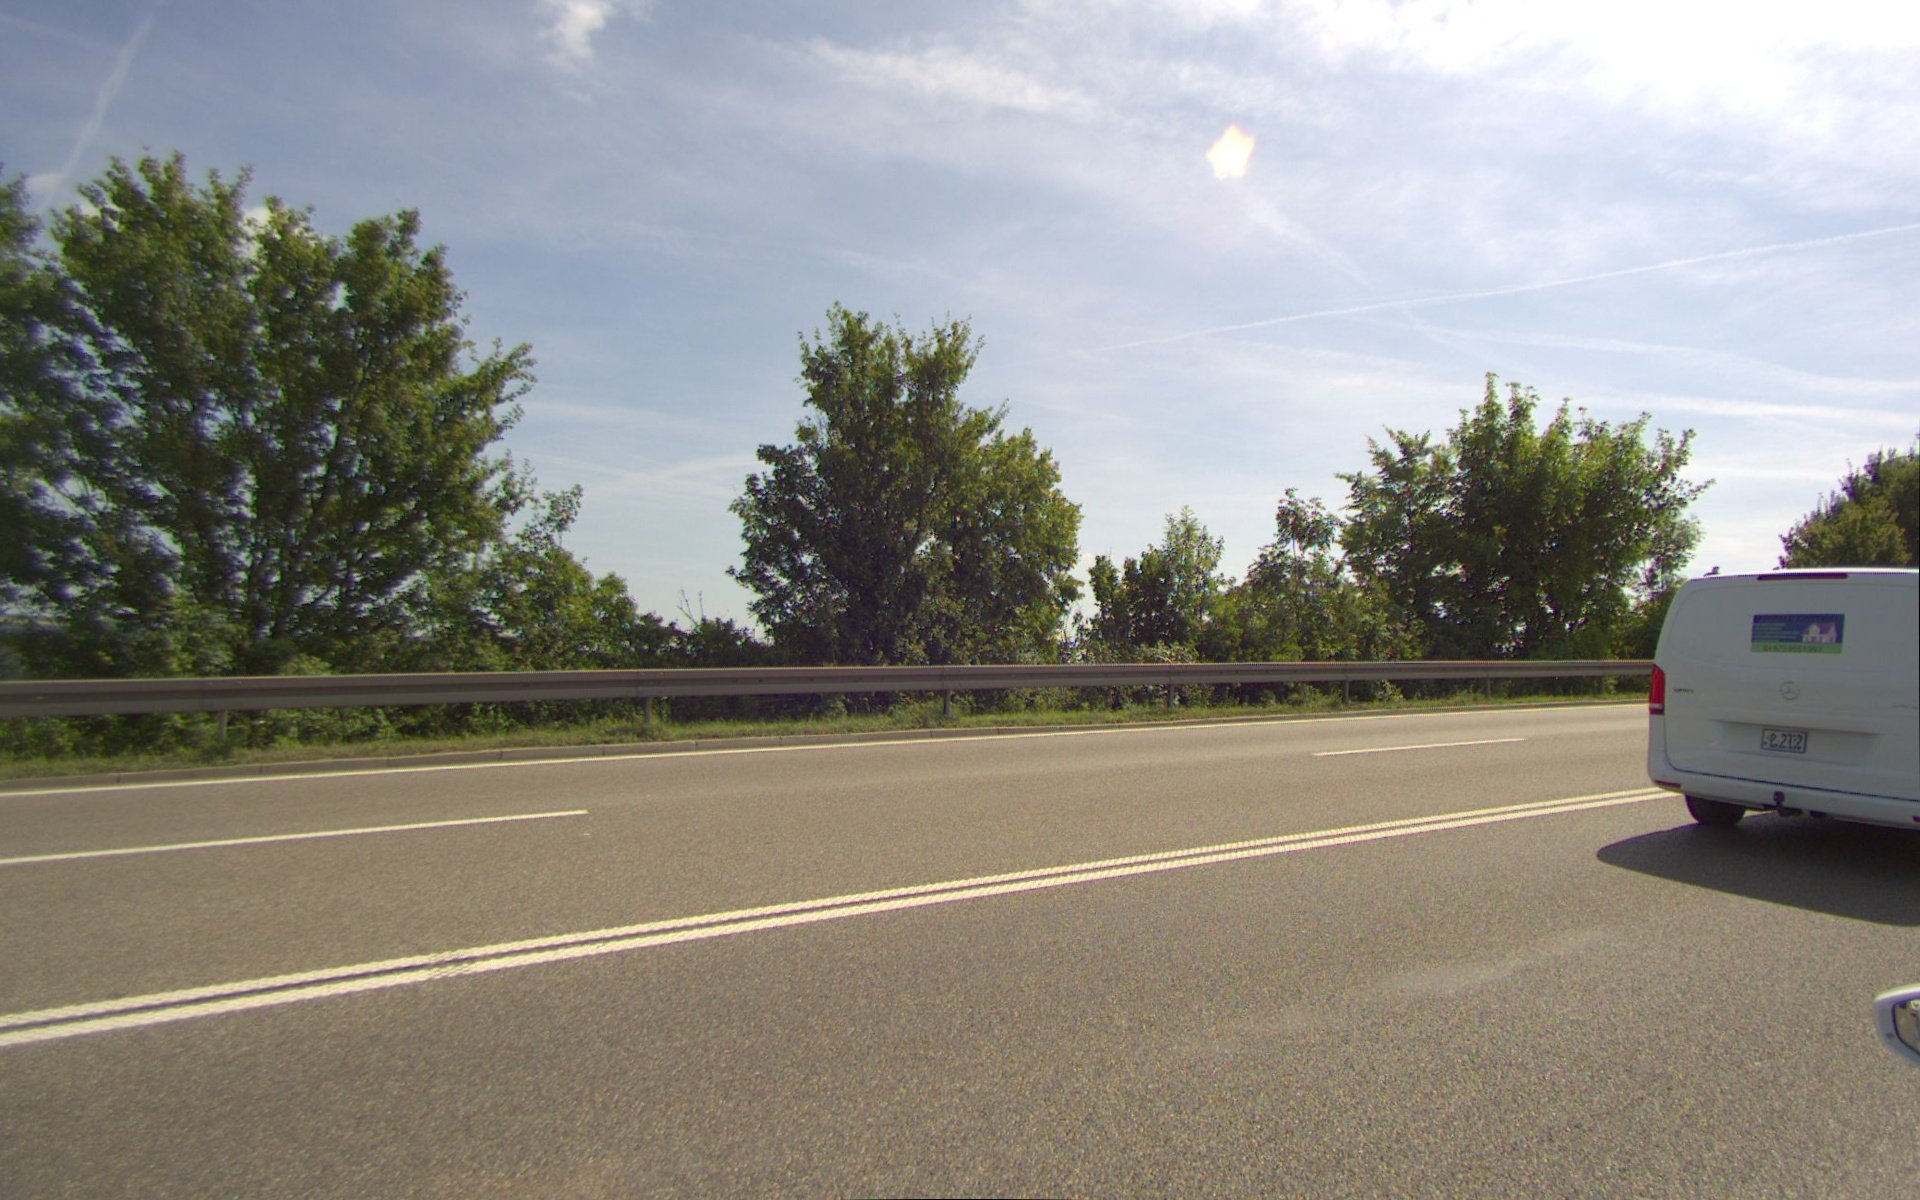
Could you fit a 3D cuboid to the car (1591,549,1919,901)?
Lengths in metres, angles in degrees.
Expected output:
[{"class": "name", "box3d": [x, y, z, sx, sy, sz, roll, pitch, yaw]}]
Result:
[{"class": "car", "box3d": [7.162, 0.746, 7.482, 5.367, 1.909, 1.897, 1, -1, -30]}]
